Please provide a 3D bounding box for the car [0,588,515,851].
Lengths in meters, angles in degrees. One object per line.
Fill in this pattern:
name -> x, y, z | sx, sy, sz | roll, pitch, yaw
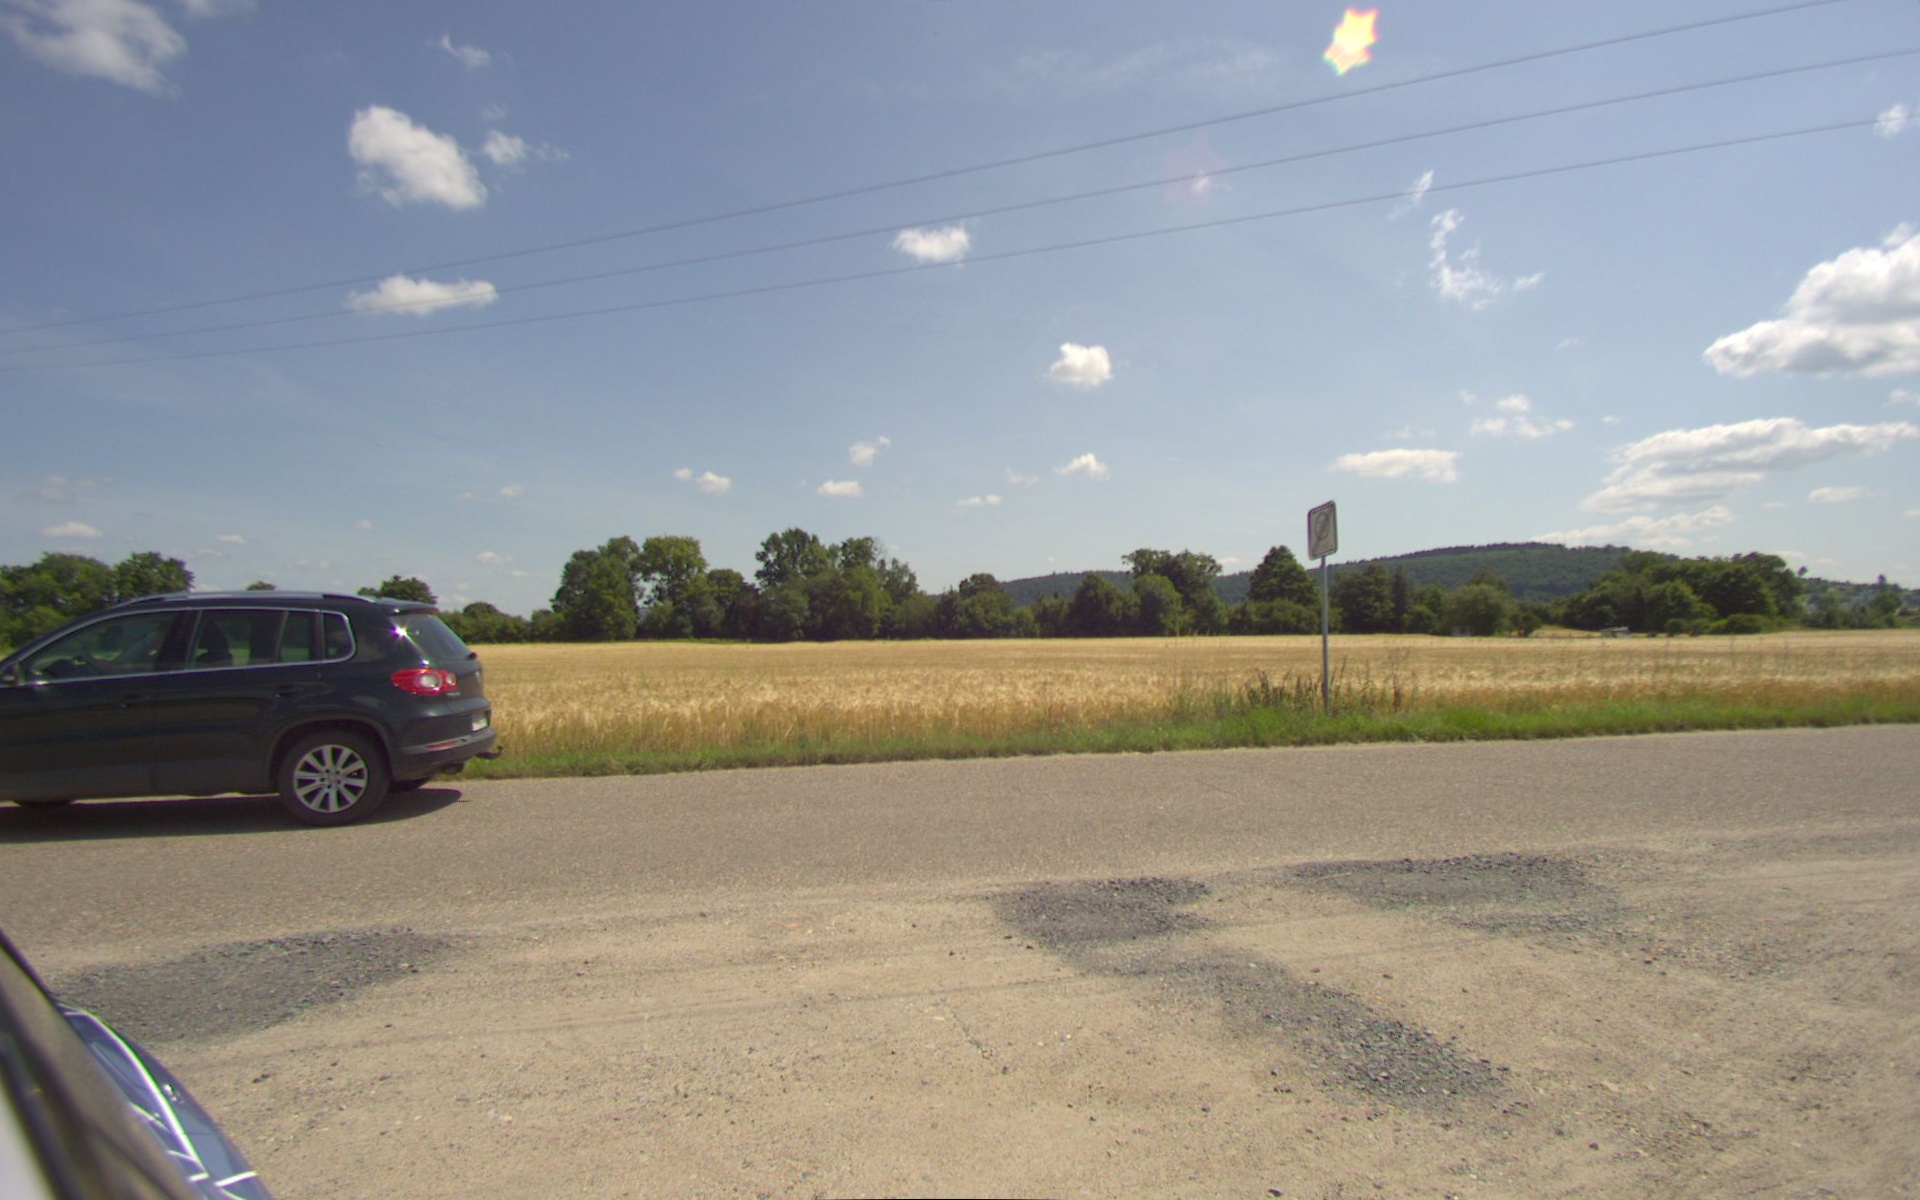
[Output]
car -> -5.739, 0.796, 7.558 | 4.184, 1.692, 1.754 | 0, -2, -14
